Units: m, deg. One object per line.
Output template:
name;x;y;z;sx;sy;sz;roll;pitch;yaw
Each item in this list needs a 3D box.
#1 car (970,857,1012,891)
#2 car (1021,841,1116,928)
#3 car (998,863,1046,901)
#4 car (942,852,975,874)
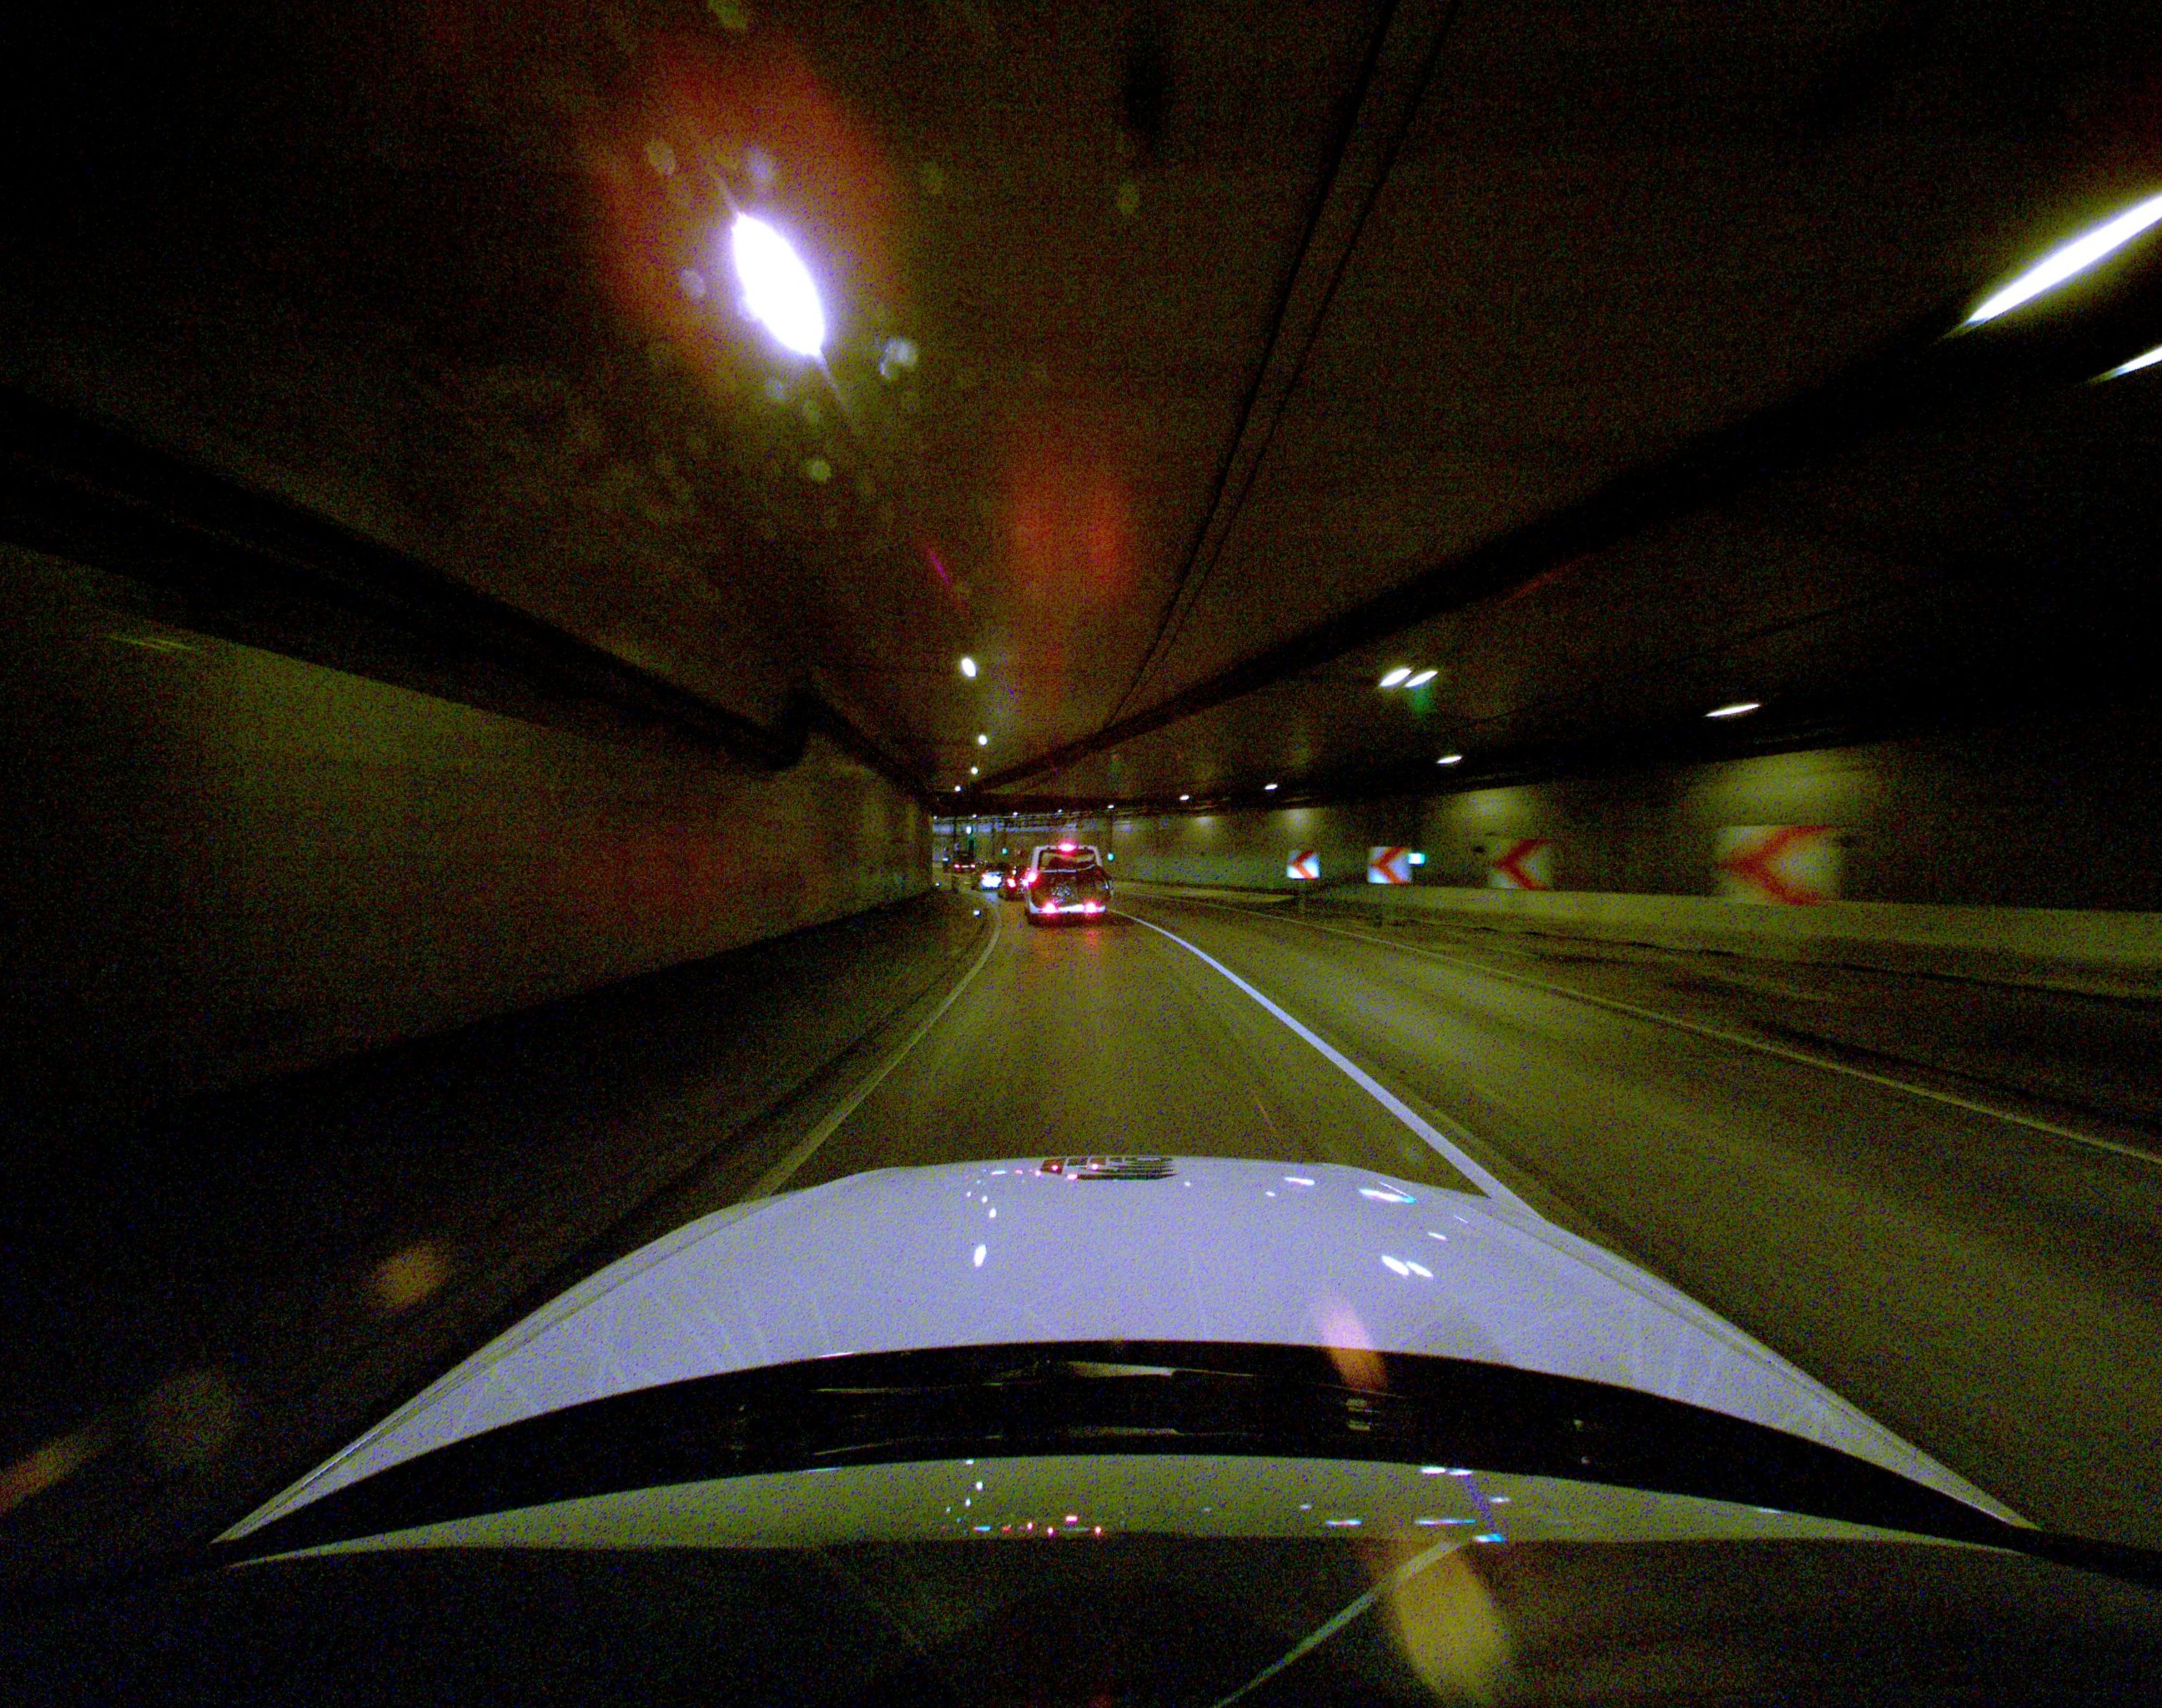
car;-4.549;1.027;40.853;1.605;1.594;3.339;2;-2;-14
car;-0.460;0.699;20.495;1.990;1.847;5.291;-2;-1;-5
car;-2.391;1.075;32.553;1.603;1.395;3.266;0;0;-10
car;-9.424;0.680;62.536;1.610;1.630;3.328;-2;0;-24
